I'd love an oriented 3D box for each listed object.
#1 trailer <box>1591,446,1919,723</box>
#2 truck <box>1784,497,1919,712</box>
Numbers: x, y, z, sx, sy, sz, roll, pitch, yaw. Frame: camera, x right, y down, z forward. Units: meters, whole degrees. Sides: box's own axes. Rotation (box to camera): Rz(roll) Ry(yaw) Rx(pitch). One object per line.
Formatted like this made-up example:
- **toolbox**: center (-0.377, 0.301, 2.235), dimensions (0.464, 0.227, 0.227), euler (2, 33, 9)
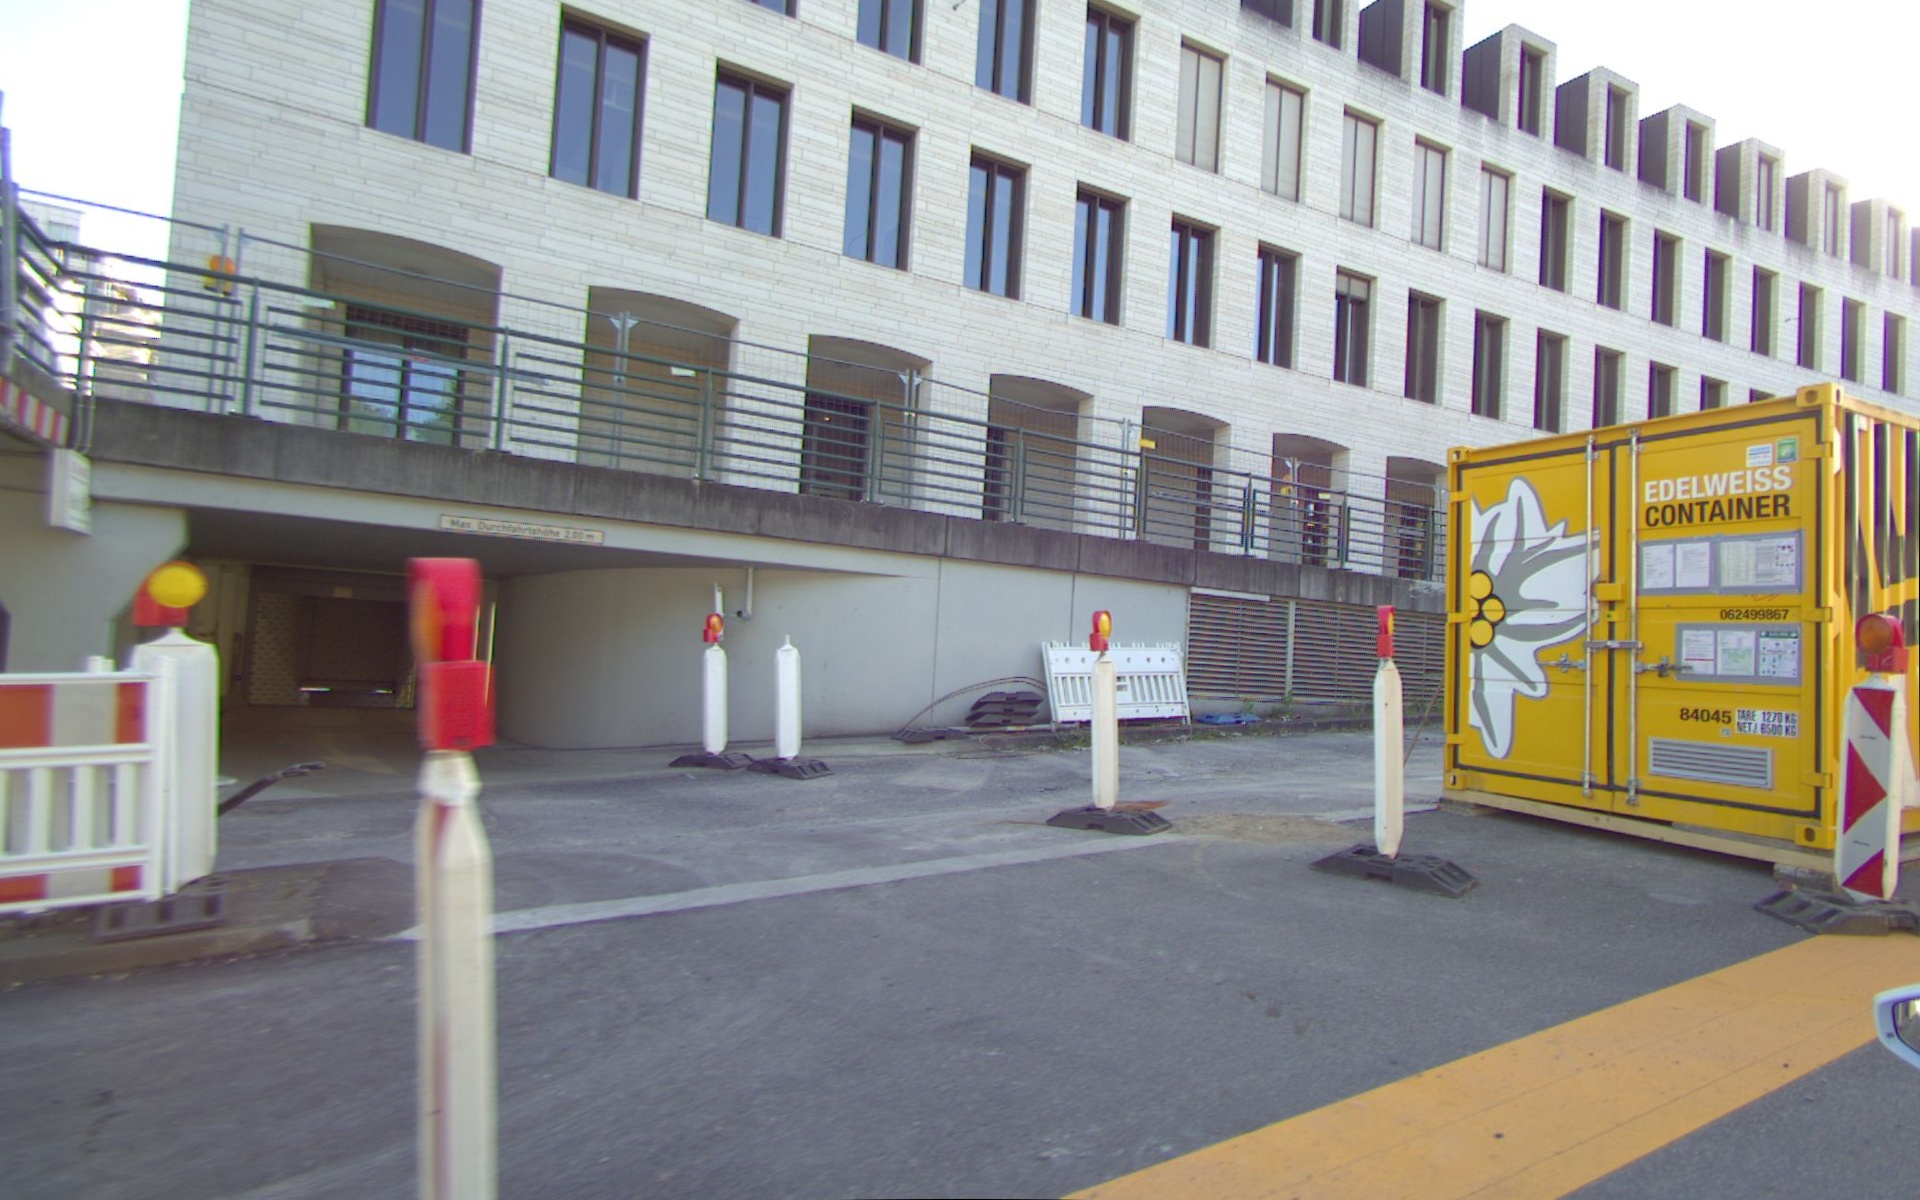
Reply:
- **trailer**: center (14.457, 0.004, 16.549), dimensions (8.634, 3.716, 2.634), euler (2, -5, -27)
- **truck**: center (18.213, 0.187, 18.293), dimensions (5.736, 3.534, 2.574), euler (2, -5, -25)
